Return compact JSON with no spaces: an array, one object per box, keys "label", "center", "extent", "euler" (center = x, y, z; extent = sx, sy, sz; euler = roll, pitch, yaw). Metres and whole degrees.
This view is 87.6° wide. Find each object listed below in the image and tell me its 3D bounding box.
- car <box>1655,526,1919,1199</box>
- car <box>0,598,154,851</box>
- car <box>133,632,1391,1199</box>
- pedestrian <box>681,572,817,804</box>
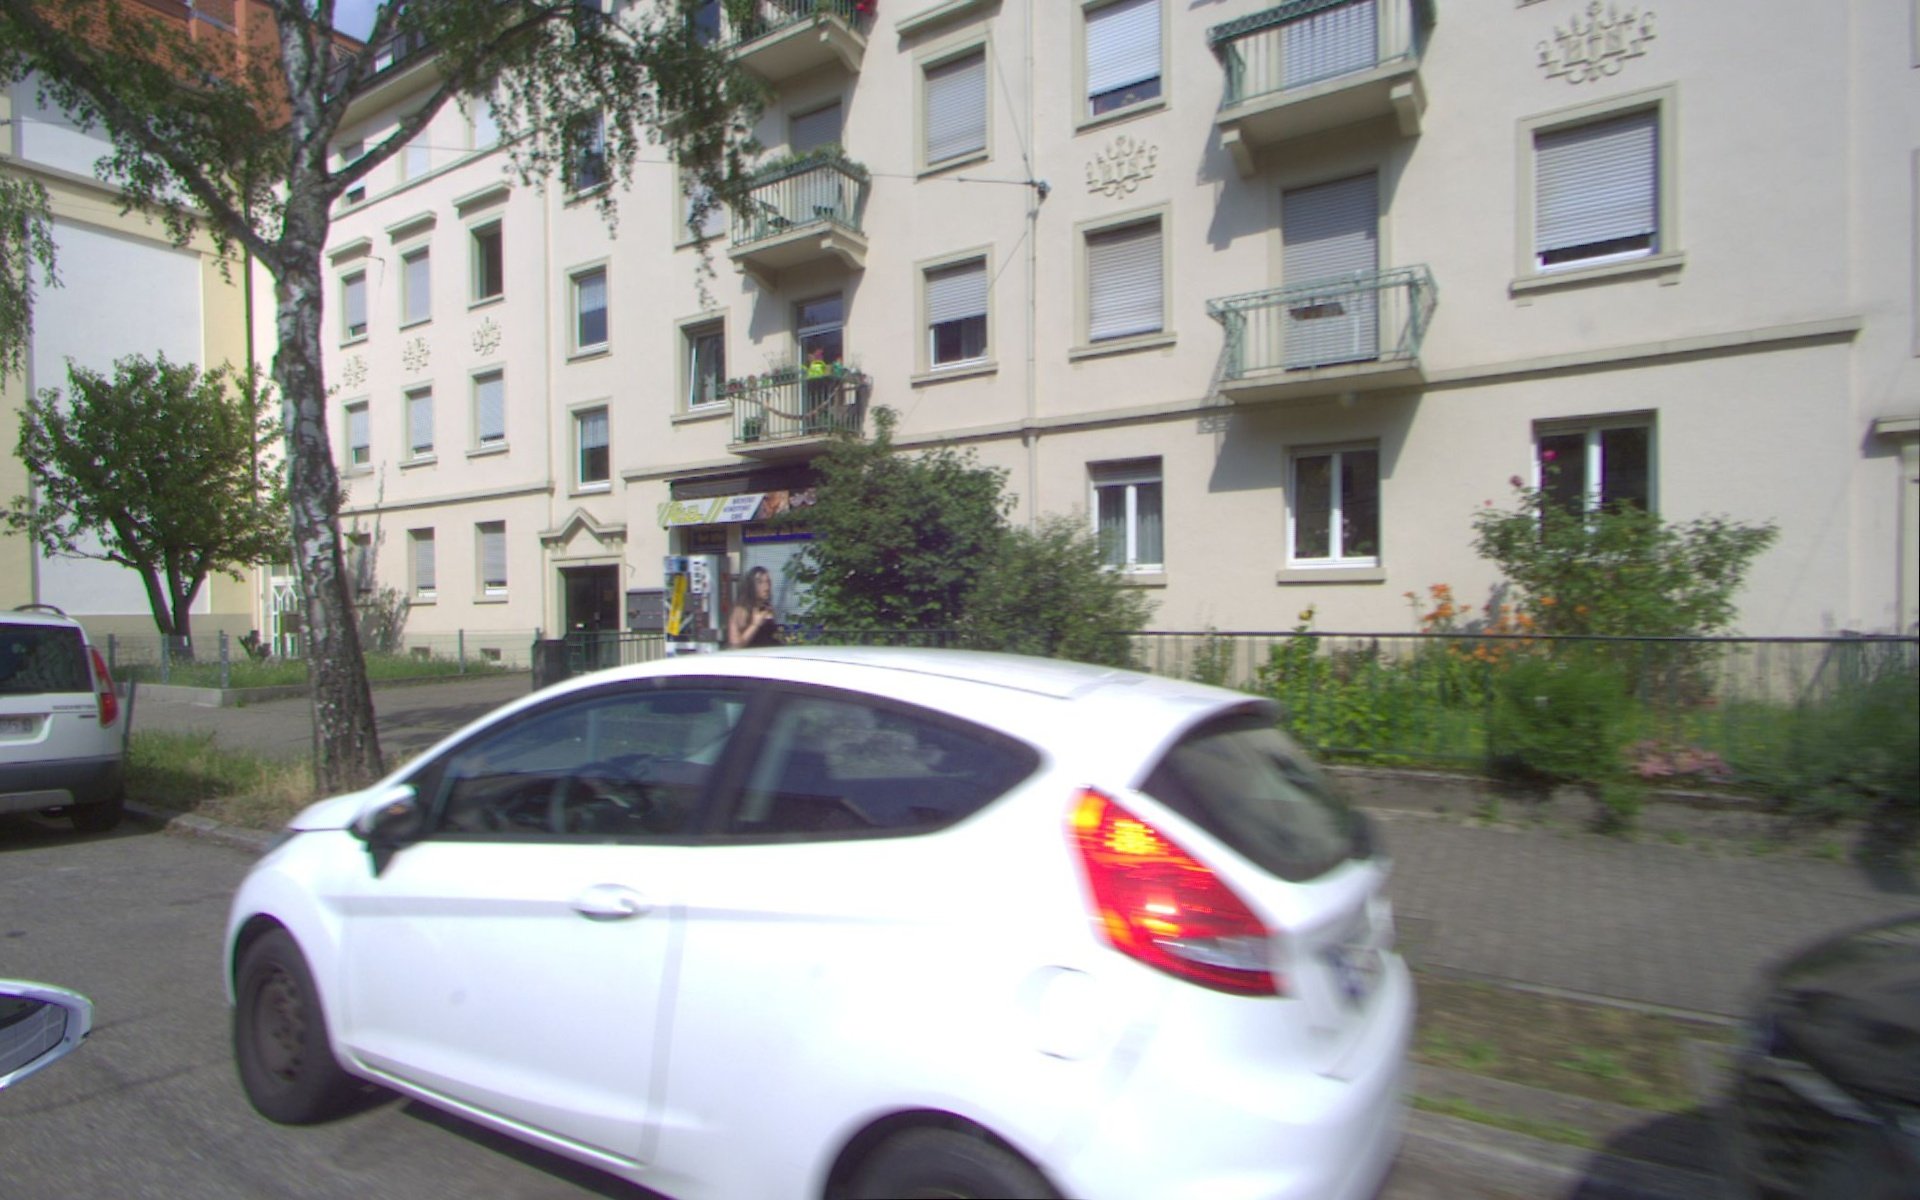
[{"label":"car","center":[2.831,0.744,0.743],"extent":[3.704,1.599,1.492],"euler":[0,-2,31]},{"label":"car","center":[-7.915,0.836,7.644],"extent":[3.947,1.650,1.717],"euler":[-1,-3,36]},{"label":"car","center":[-0.787,0.856,3.147],"extent":[3.741,1.434,1.671],"euler":[-1,-3,32]},{"label":"pedestrian","center":[-1.637,0.643,7.825],"extent":[0.681,1.706,0.728],"euler":[0,2,33]}]
